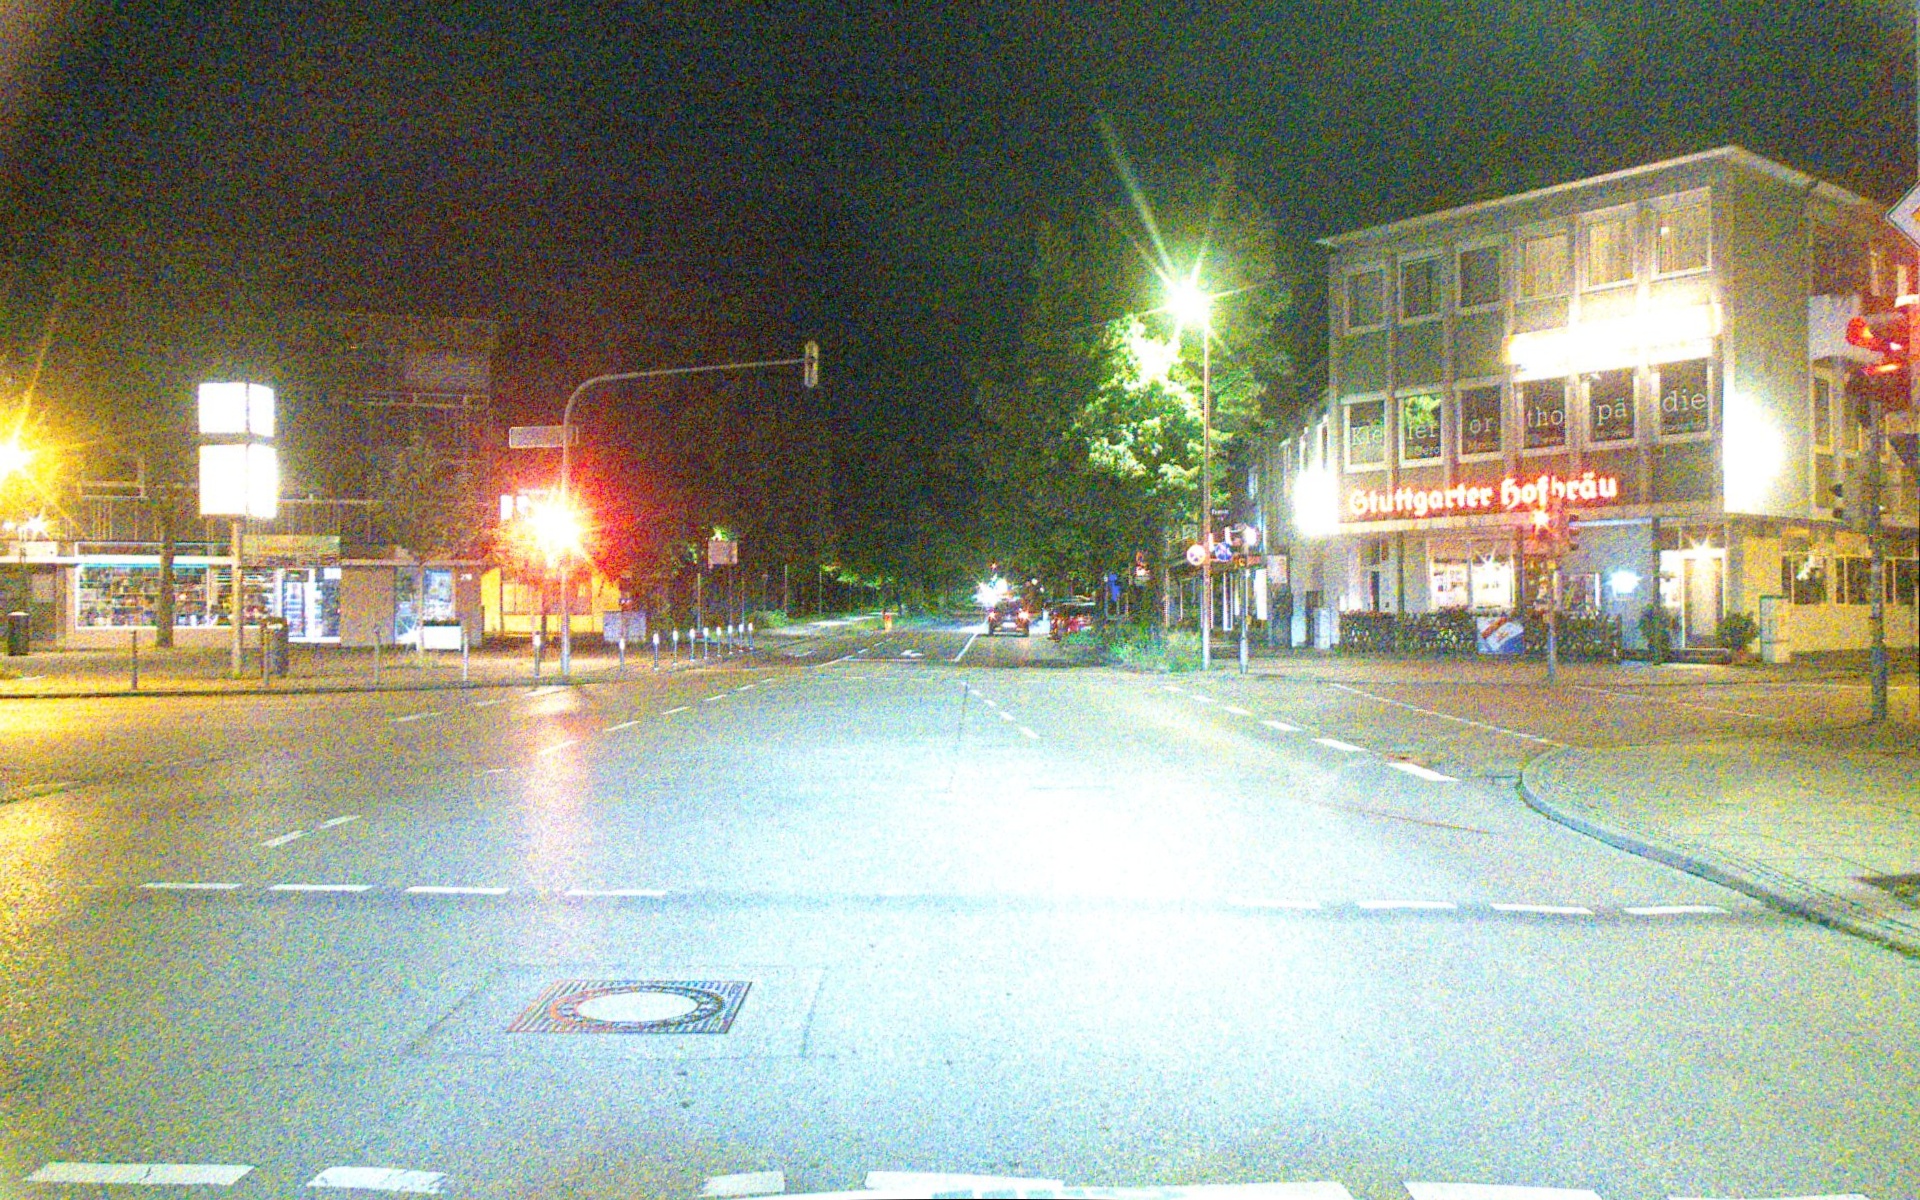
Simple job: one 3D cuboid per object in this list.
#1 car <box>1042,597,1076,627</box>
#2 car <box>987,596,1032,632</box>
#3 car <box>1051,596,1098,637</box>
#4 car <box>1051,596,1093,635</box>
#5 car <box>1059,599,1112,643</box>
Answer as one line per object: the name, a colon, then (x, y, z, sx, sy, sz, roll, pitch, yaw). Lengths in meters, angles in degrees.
car: (5.667, 0.675, 94.578, 1.837, 1.713, 4.001, 0, 0, 2)
car: (2.166, 0.591, 71.805, 1.834, 1.479, 4.318, 1, 0, 3)
car: (4.731, 0.682, 68.860, 1.837, 1.643, 4.001, 0, 0, 2)
car: (5.156, 0.711, 76.536, 1.837, 1.759, 4.001, 0, 0, 2)
car: (4.793, 0.796, 63.574, 1.837, 1.643, 4.001, 0, 0, 2)
